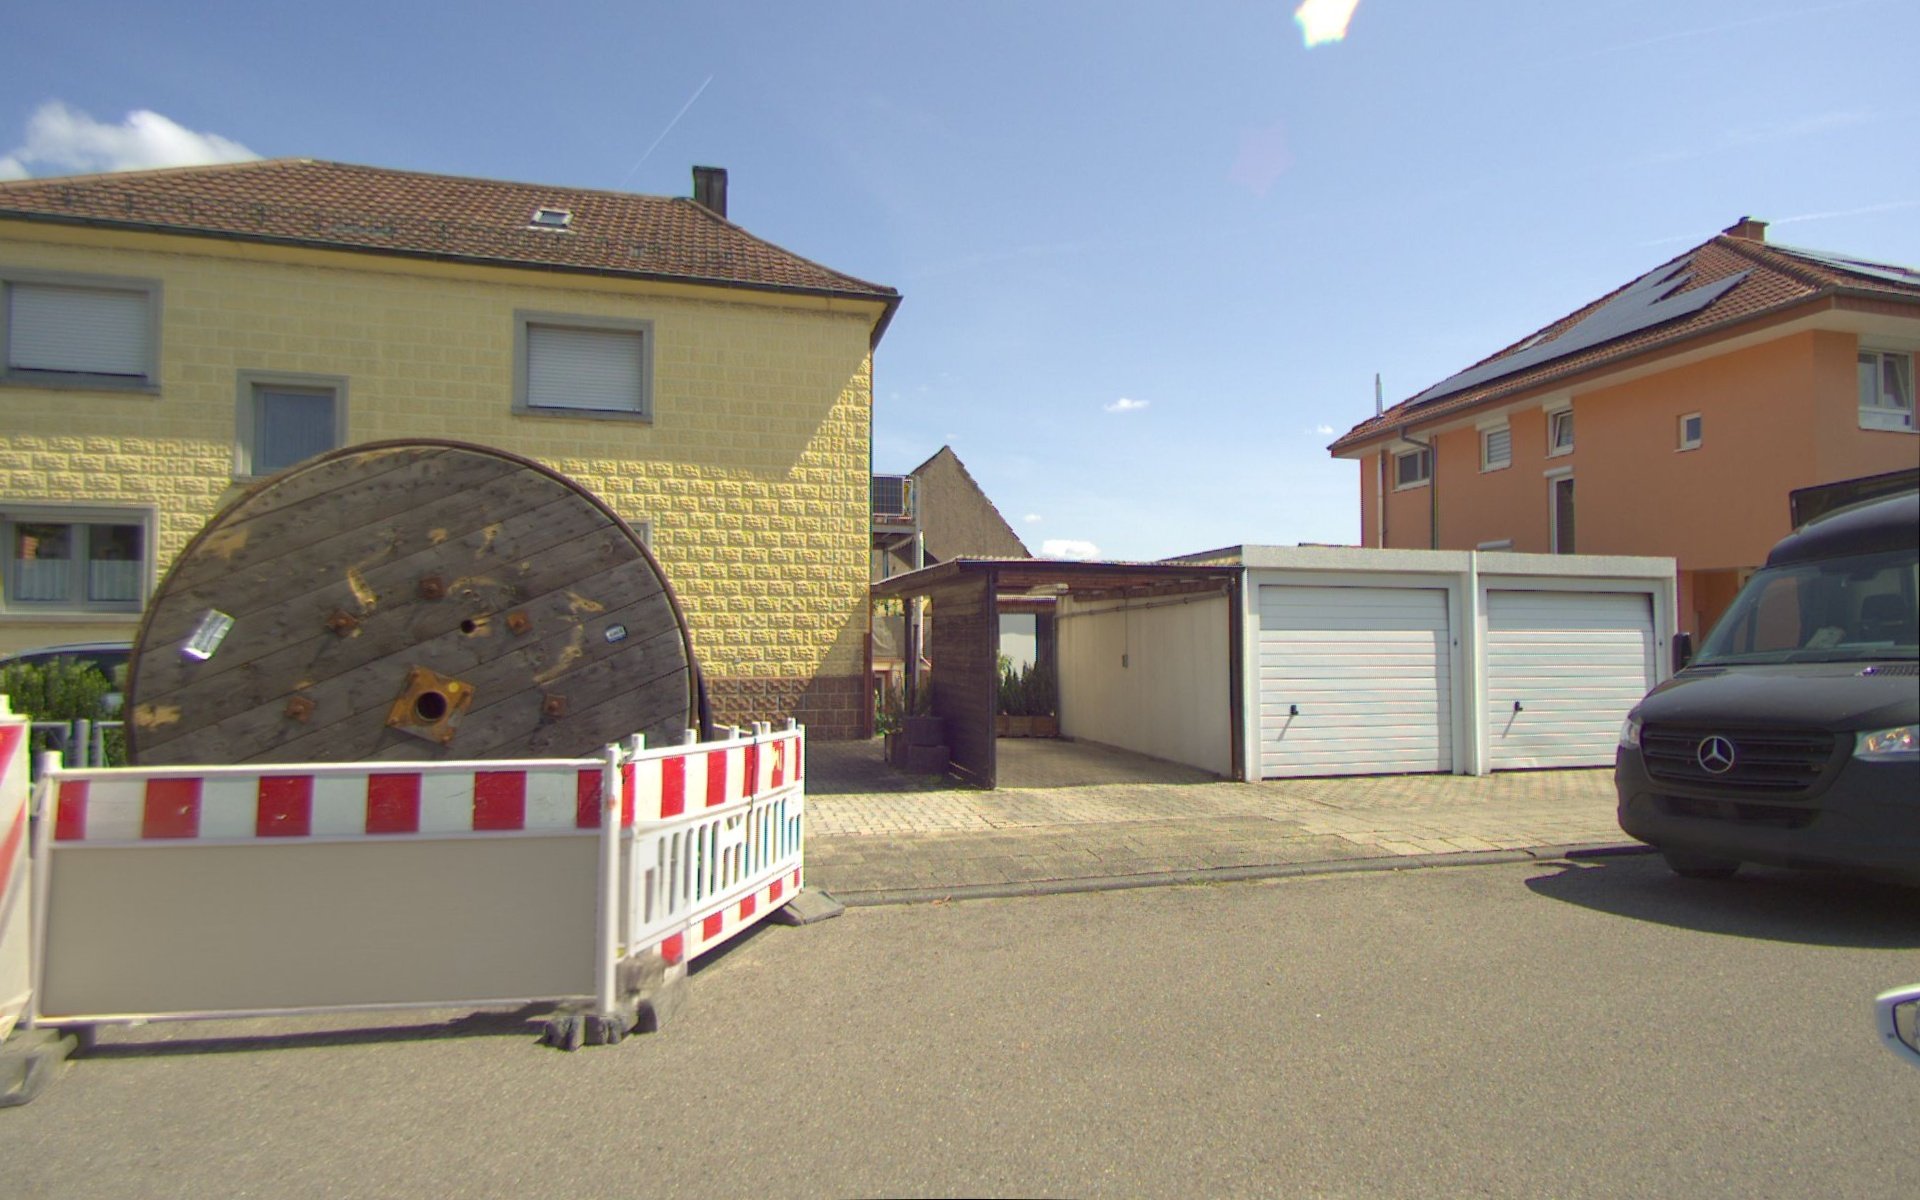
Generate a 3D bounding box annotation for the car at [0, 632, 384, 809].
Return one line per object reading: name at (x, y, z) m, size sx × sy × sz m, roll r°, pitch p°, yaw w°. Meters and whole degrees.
car at (-8.178, 1.060, 9.462) m, size 4.386 × 1.505 × 1.792 m, roll 0°, pitch -2°, yaw -3°

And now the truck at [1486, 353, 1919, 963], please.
truck at (7.490, 0.404, 6.834) m, size 7.179 × 2.823 × 2.435 m, roll 1°, pitch -5°, yaw -17°
